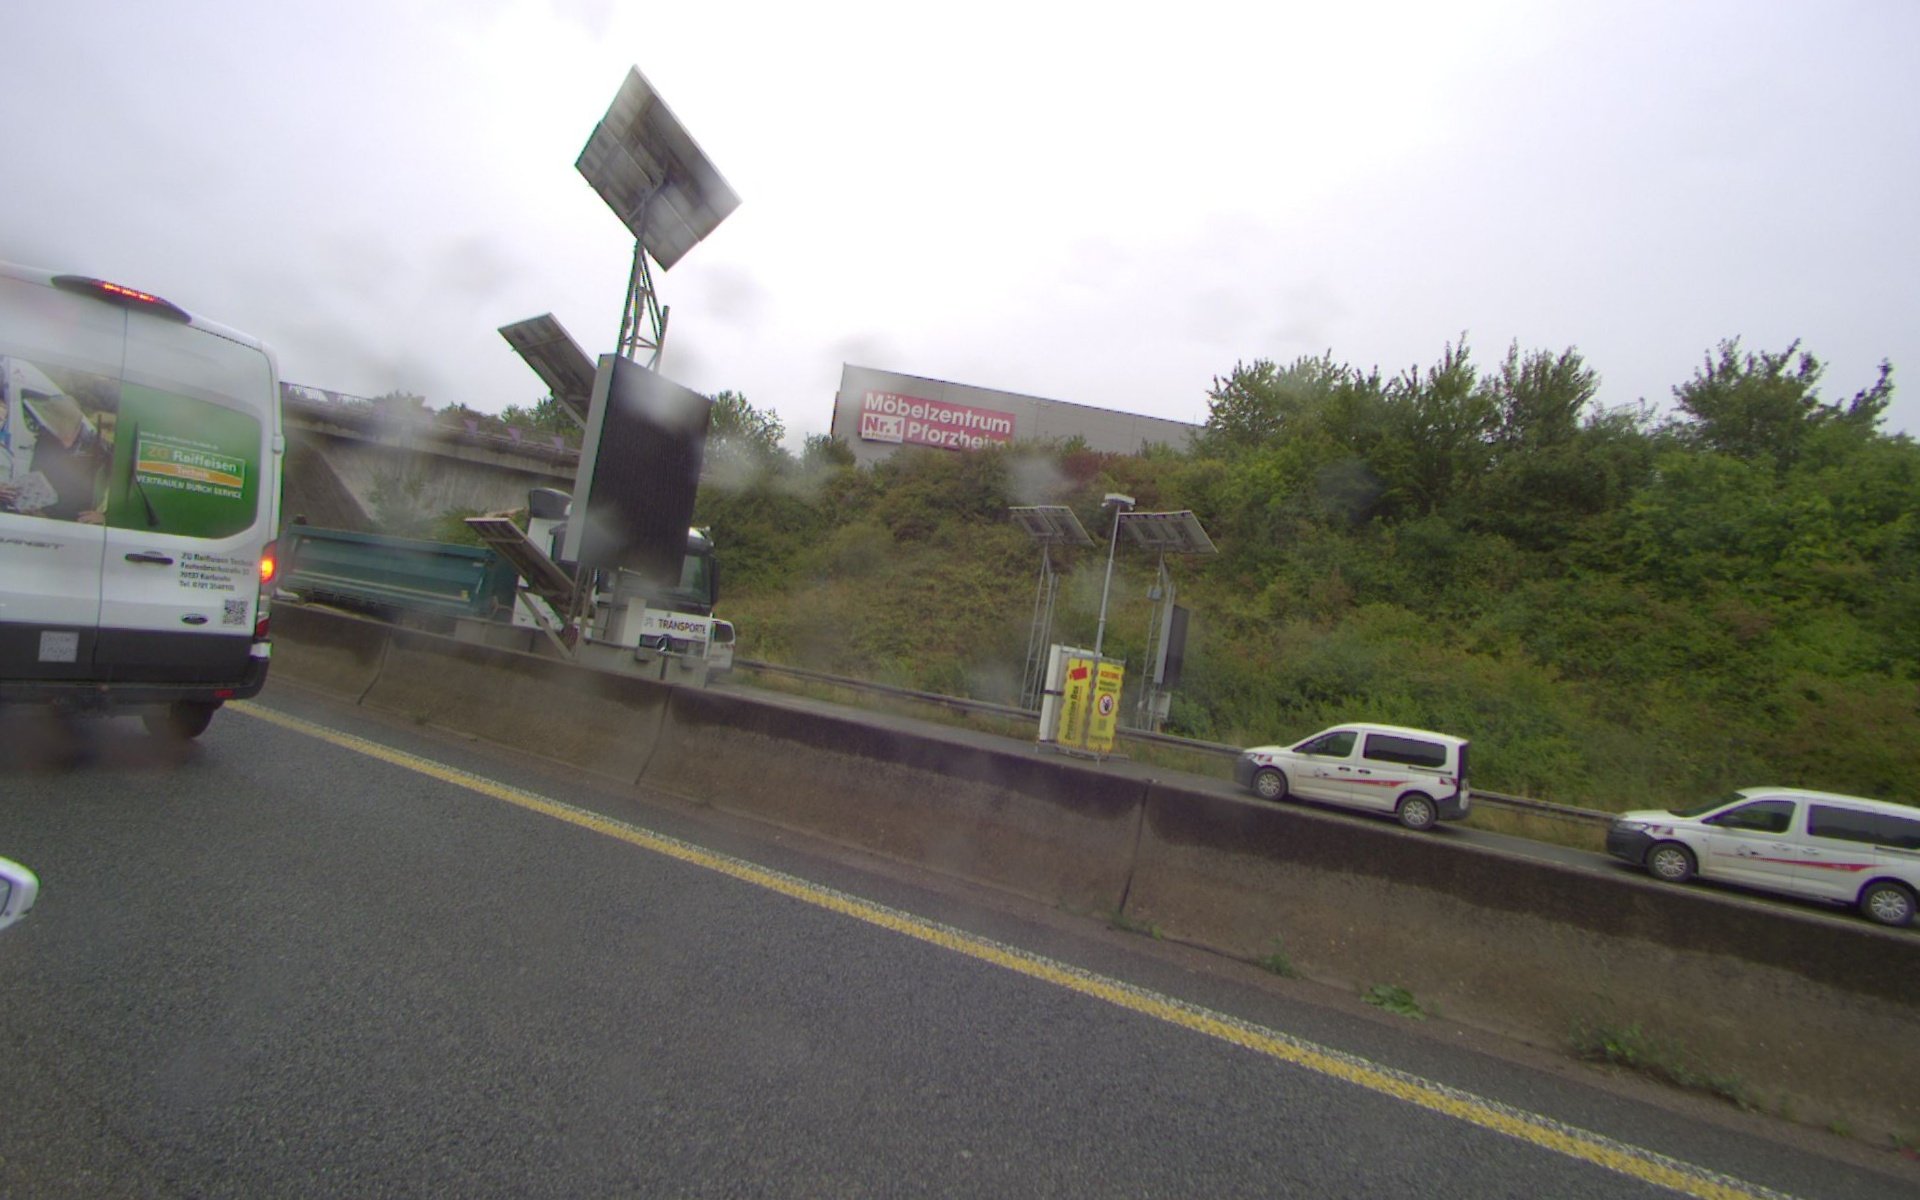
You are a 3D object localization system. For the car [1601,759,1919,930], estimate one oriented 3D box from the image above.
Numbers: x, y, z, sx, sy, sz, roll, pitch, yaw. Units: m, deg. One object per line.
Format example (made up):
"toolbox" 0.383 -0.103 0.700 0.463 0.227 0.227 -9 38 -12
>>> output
"car" 13.213 3.912 16.554 4.257 1.790 1.732 6 -2 31

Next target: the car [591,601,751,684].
"car" -8.756 1.265 30.352 4.651 1.850 1.945 6 -2 34

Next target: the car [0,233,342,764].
"car" -7.256 -0.727 7.152 6.015 2.707 2.148 6 -1 31

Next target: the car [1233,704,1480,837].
"car" 7.813 3.260 19.921 4.197 1.778 1.732 6 -2 31

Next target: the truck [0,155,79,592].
"truck" -22.098 -4.067 17.581 20.039 5.740 3.986 6 -1 32

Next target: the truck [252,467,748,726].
"truck" -7.829 -0.232 16.442 8.967 3.168 2.525 6 -1 31
